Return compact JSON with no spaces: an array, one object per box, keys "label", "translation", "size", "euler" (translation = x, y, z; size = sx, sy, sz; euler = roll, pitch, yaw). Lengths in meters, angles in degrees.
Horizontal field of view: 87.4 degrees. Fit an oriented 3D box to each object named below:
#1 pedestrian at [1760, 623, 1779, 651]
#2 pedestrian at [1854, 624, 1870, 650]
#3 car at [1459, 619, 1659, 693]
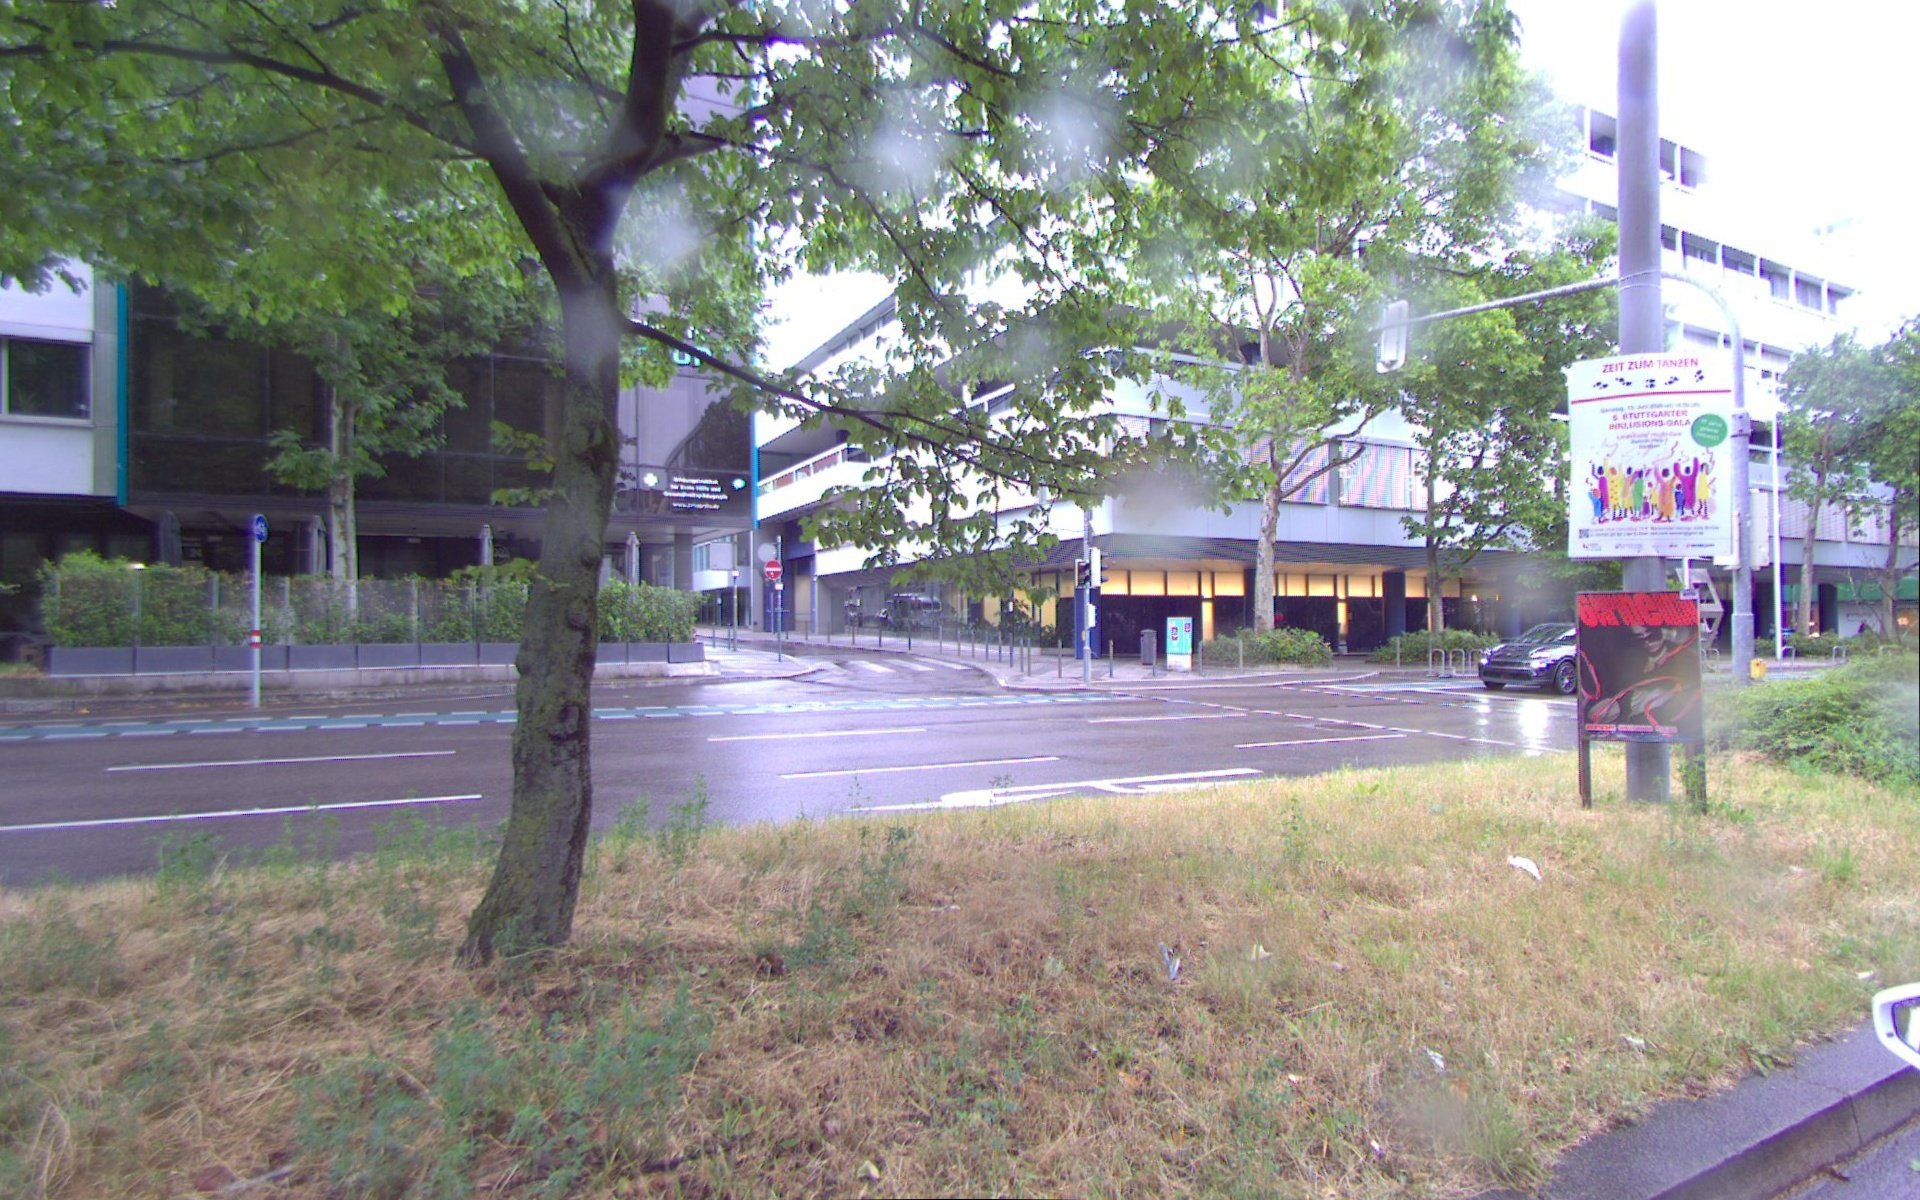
[{"label":"pedestrian","translation":[41.466,1.900,51.467],"size":[0.470,1.398,0.632],"euler":[2,0,-40]},{"label":"pedestrian","translation":[52.386,2.140,58.324],"size":[0.570,1.502,0.604],"euler":[2,0,-40]},{"label":"car","translation":[14.567,1.344,24.412],"size":[4.683,1.605,1.903],"euler":[2,0,-26]}]
